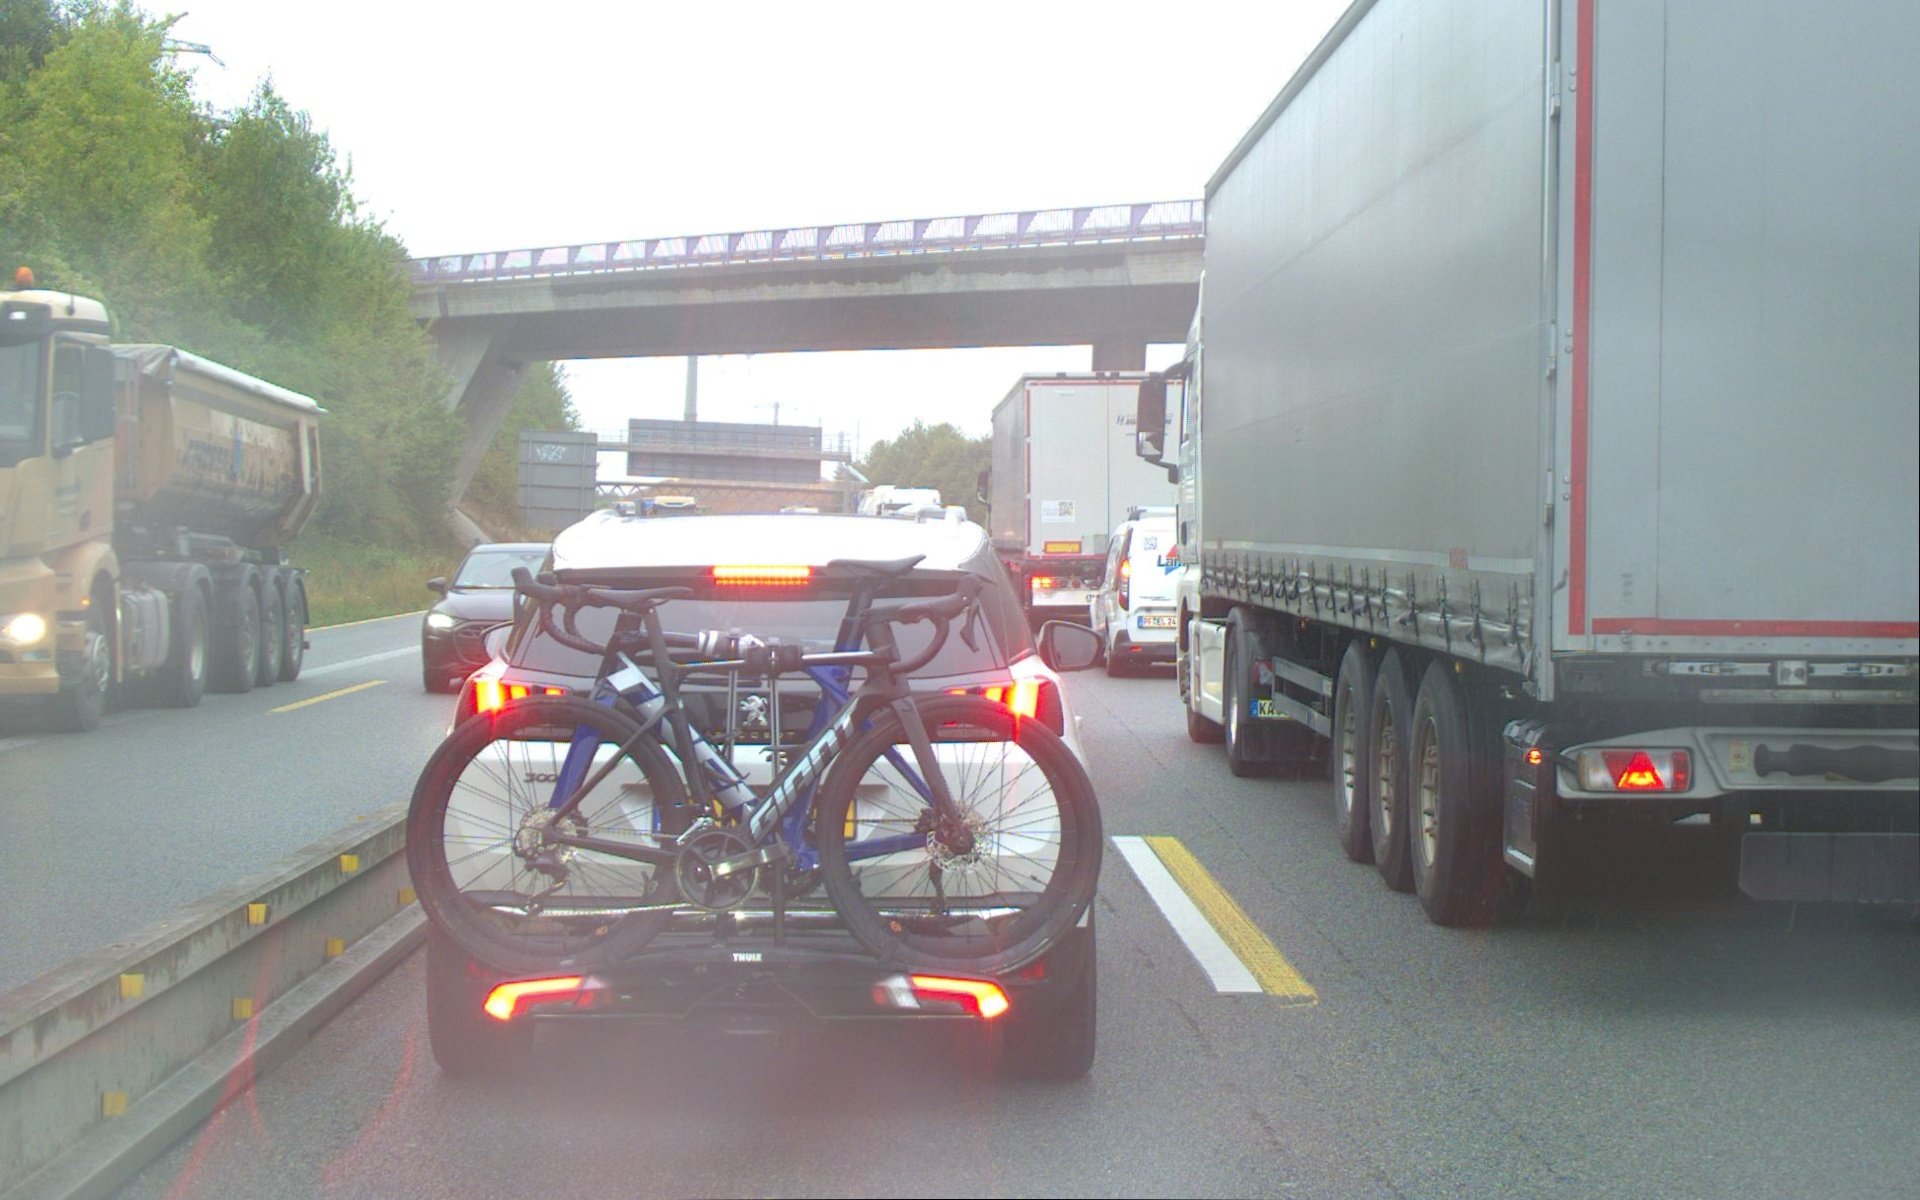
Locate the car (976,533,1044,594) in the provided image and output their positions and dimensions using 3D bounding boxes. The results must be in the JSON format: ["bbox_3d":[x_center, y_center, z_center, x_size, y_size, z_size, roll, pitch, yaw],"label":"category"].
[{"bbox_3d":[1.243,-0.922,86.575,1.638,1.492,3.666,1,1,0],"label":"car"}]

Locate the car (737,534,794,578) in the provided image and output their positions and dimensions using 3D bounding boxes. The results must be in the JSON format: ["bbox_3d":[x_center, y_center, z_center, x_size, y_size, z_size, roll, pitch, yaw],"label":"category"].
[{"bbox_3d":[-6.678,-1.521,118.477,1.810,1.483,4.397,1,1,-1],"label":"car"}]

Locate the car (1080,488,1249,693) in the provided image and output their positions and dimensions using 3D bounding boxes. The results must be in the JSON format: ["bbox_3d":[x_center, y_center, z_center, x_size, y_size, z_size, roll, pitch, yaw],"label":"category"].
[{"bbox_3d":[2.263,-0.129,38.976,1.670,2.173,4.535,1,1,1],"label":"car"}]

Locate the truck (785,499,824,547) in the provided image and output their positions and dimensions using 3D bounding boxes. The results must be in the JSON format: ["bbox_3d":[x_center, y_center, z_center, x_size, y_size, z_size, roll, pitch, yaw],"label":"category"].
[{"bbox_3d":[-11.225,-5.527,248.806,2.535,3.341,12.051,1,1,-1],"label":"truck"}]

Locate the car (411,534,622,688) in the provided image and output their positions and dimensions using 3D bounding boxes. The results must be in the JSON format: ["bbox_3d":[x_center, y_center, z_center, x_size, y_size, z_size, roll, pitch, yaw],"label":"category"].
[{"bbox_3d":[-4.293,0.075,33.726,1.686,1.404,3.930,1,1,-2],"label":"car"}]

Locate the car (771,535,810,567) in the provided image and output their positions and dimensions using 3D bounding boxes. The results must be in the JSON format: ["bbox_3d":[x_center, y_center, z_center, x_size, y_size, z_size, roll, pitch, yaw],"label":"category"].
[{"bbox_3d":[-7.557,-2.192,153.327,1.686,1.404,3.930,1,1,-2],"label":"car"}]

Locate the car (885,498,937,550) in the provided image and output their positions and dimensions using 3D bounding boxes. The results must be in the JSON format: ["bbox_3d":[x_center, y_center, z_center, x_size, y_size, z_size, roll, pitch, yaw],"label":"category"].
[{"bbox_3d":[-1.945,-3.024,137.582,1.993,2.007,4.000,1,1,0],"label":"car"}]

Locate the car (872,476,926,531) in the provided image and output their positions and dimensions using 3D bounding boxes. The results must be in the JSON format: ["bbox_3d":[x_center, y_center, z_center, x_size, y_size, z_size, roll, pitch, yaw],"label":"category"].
[{"bbox_3d":[-2.641,-4.185,150.005,2.239,2.299,4.572,1,1,0],"label":"car"}]

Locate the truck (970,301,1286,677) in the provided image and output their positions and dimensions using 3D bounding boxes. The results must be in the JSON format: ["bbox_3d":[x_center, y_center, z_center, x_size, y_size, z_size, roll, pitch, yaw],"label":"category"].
[{"bbox_3d":[2.672,-1.815,62.397,4.743,5.654,20.376,1,1,1],"label":"truck"}]

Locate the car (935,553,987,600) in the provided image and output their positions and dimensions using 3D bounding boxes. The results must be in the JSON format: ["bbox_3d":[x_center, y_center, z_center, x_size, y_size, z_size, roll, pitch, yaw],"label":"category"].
[{"bbox_3d":[0.021,-0.785,113.208,1.638,1.492,3.666,1,1,0],"label":"car"}]

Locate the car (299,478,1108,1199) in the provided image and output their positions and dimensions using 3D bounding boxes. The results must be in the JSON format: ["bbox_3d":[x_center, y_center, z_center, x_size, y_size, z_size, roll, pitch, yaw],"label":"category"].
[{"bbox_3d":[-0.553,0.523,10.070,1.810,1.632,4.635,1,1,1],"label":"car"}]

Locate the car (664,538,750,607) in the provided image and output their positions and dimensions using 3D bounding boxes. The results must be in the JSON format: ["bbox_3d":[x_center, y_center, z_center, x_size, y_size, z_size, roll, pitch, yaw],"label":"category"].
[{"bbox_3d":[-5.952,-0.663,81.137,1.810,1.554,3.990,1,1,-1],"label":"car"}]

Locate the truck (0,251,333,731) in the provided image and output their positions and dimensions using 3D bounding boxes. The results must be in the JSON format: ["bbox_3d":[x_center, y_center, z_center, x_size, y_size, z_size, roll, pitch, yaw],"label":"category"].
[{"bbox_3d":[-7.716,-0.845,29.963,2.535,3.341,12.051,1,1,-1],"label":"truck"}]

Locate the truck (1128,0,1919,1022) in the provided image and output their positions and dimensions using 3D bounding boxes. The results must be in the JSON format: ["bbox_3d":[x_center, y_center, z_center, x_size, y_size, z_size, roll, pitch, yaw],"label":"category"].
[{"bbox_3d":[3.555,-1.731,20.067,3.979,5.654,20.377,1,1,0],"label":"truck"}]

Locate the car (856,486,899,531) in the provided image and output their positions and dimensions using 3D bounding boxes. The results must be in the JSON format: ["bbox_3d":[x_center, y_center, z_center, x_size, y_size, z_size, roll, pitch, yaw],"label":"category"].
[{"bbox_3d":[-3.985,-4.405,166.427,1.993,2.119,4.527,1,1,0],"label":"car"}]

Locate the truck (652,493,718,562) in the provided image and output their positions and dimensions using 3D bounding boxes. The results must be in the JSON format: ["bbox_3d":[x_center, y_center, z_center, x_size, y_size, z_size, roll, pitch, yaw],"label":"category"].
[{"bbox_3d":[-15.205,-3.969,190.623,2.681,3.644,12.312,1,1,0],"label":"truck"}]

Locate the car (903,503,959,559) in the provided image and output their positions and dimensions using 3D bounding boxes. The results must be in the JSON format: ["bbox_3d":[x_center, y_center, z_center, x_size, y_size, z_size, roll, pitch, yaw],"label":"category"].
[{"bbox_3d":[-1.048,-2.520,126.220,1.993,2.007,4.000,1,1,0],"label":"car"}]
